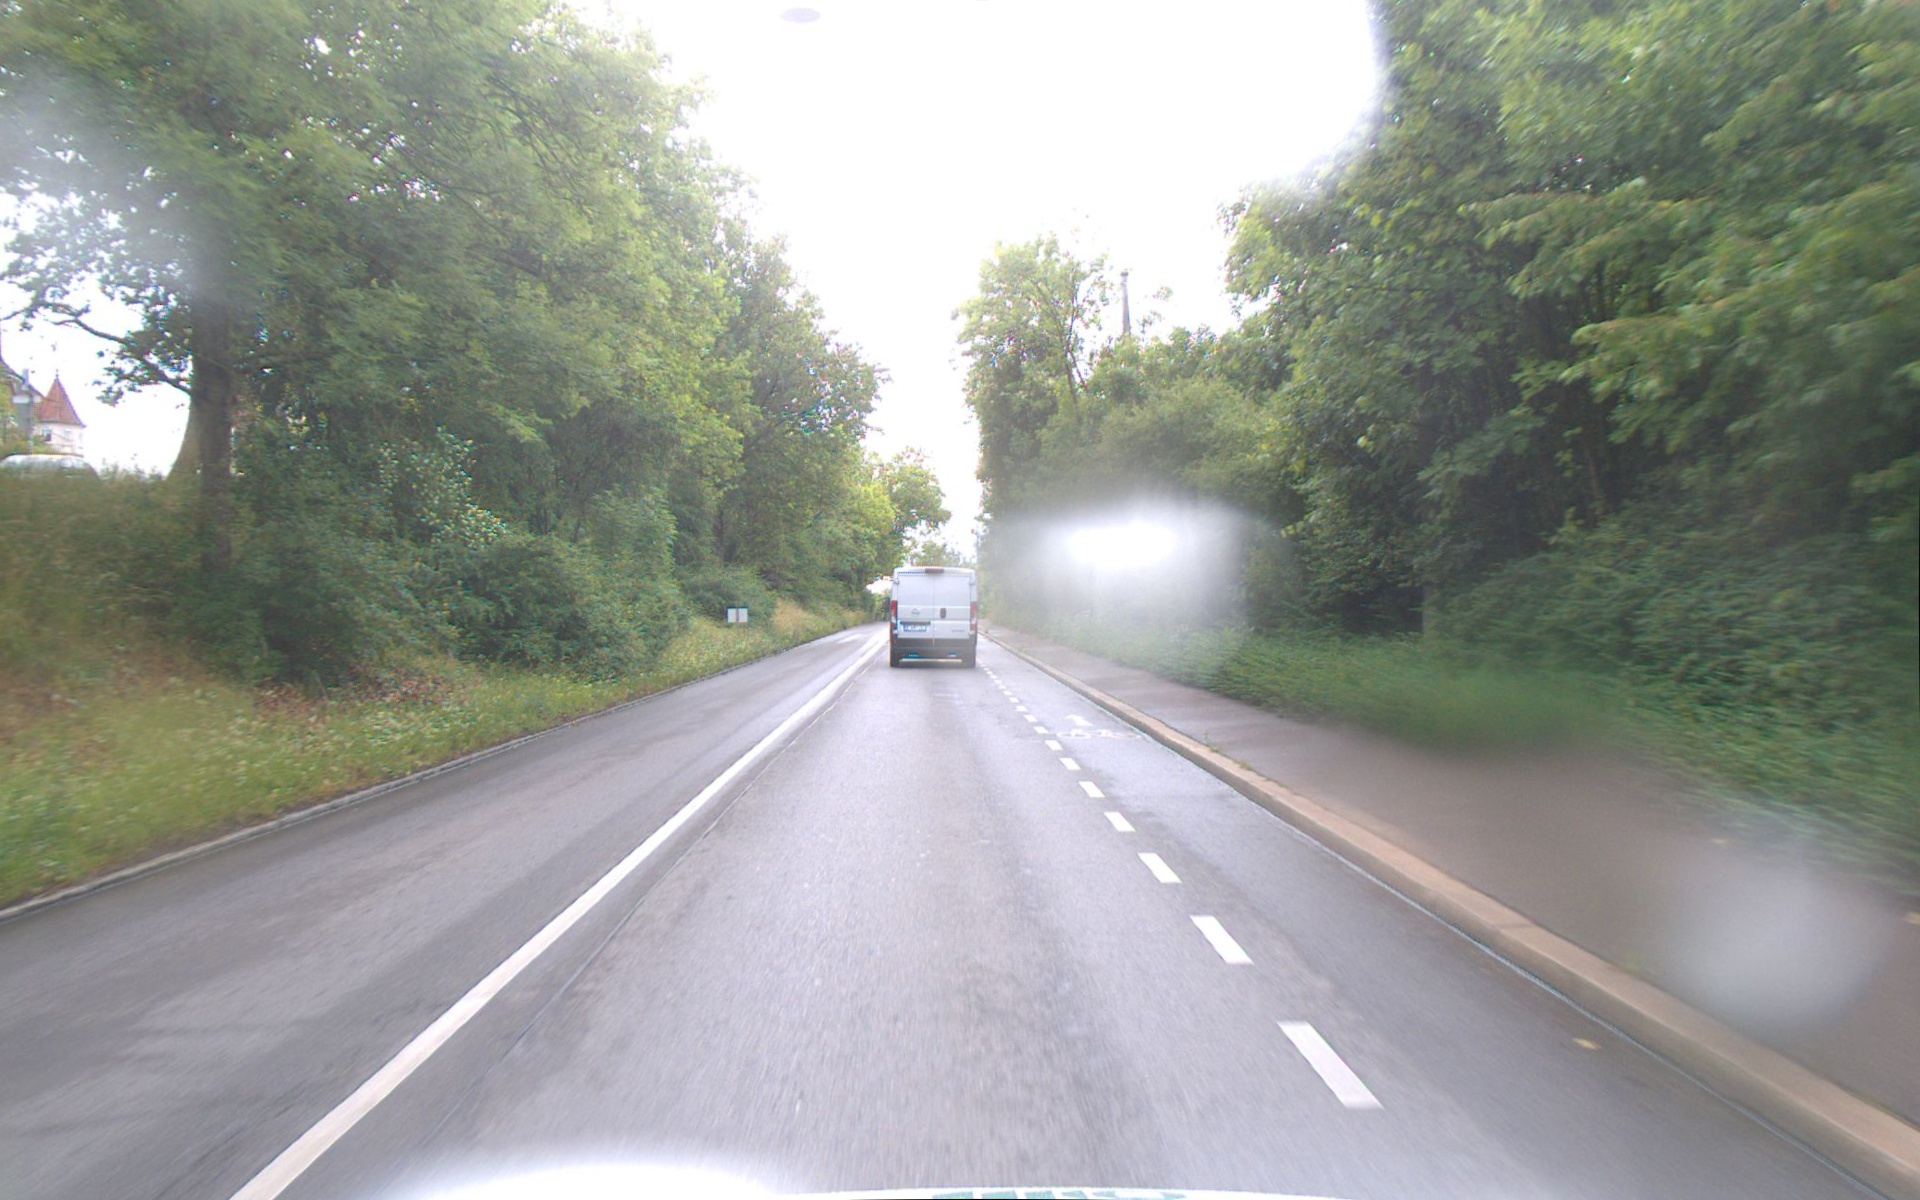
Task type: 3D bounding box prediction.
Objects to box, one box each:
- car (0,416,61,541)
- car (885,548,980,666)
[{"bbox_3d":[-12.839,-1.577,20.555,1.521,1.465,3.377,-1,-2,-1],"label":"car"},{"bbox_3d":[-0.641,0.138,39.434,2.008,2.560,4.943,3,0,-1],"label":"car"}]
